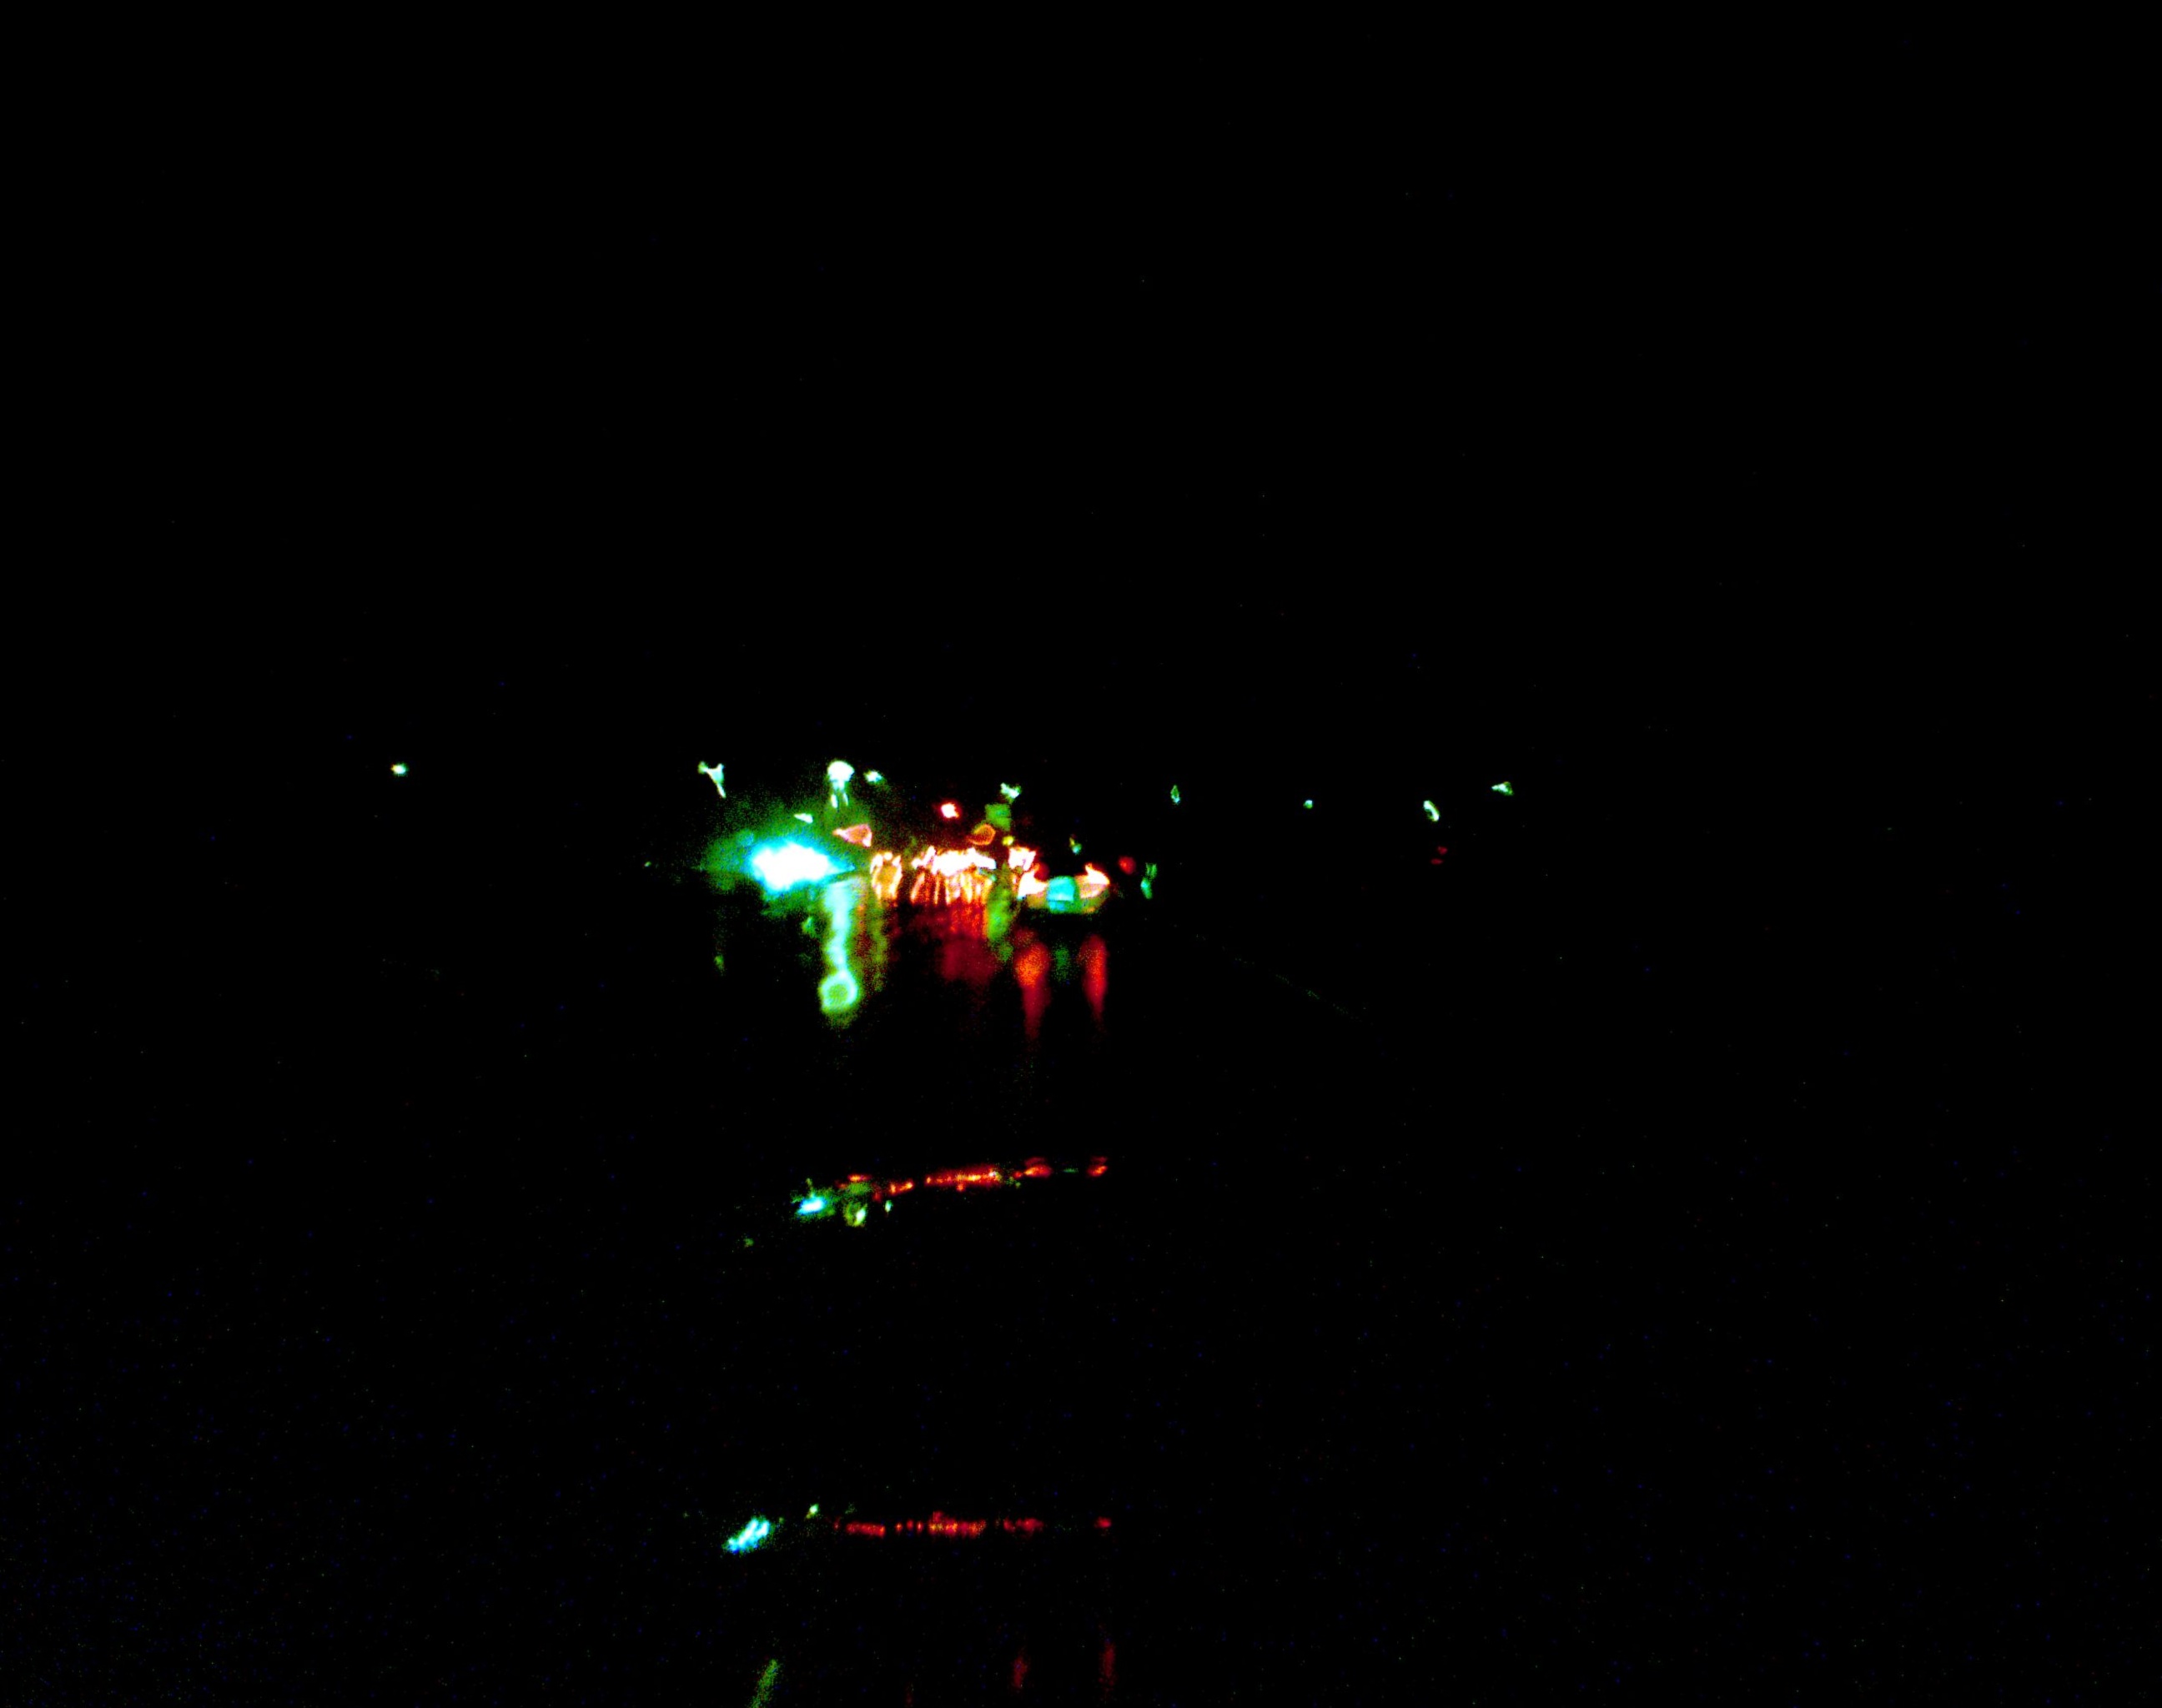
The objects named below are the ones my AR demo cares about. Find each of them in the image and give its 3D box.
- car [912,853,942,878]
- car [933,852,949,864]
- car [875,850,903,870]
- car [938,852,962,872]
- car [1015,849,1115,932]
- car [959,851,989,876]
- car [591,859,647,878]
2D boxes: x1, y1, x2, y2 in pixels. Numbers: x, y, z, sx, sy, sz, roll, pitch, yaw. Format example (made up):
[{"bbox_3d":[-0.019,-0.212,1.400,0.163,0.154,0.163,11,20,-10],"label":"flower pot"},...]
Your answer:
[{"bbox_3d":[-11.564,0.846,61.465,1.994,1.627,4.968,-3,1,-10],"label":"car"},{"bbox_3d":[-20.930,0.517,121.802,1.995,1.627,4.964,-3,1,-12],"label":"car"},{"bbox_3d":[-16.991,0.510,72.095,1.994,1.627,4.968,-3,1,-10],"label":"car"},{"bbox_3d":[-12.316,0.731,76.470,1.994,1.627,4.968,-3,1,-10],"label":"car"},{"bbox_3d":[-0.496,0.759,18.740,1.990,1.628,4.976,-1,-1,-4],"label":"car"},{"bbox_3d":[-8.080,0.676,61.281,1.994,1.627,4.968,-3,1,-10],"label":"car"},{"bbox_3d":[-42.294,1.319,74.590,4.305,1.628,1.979,-1,0,-33],"label":"car"}]
